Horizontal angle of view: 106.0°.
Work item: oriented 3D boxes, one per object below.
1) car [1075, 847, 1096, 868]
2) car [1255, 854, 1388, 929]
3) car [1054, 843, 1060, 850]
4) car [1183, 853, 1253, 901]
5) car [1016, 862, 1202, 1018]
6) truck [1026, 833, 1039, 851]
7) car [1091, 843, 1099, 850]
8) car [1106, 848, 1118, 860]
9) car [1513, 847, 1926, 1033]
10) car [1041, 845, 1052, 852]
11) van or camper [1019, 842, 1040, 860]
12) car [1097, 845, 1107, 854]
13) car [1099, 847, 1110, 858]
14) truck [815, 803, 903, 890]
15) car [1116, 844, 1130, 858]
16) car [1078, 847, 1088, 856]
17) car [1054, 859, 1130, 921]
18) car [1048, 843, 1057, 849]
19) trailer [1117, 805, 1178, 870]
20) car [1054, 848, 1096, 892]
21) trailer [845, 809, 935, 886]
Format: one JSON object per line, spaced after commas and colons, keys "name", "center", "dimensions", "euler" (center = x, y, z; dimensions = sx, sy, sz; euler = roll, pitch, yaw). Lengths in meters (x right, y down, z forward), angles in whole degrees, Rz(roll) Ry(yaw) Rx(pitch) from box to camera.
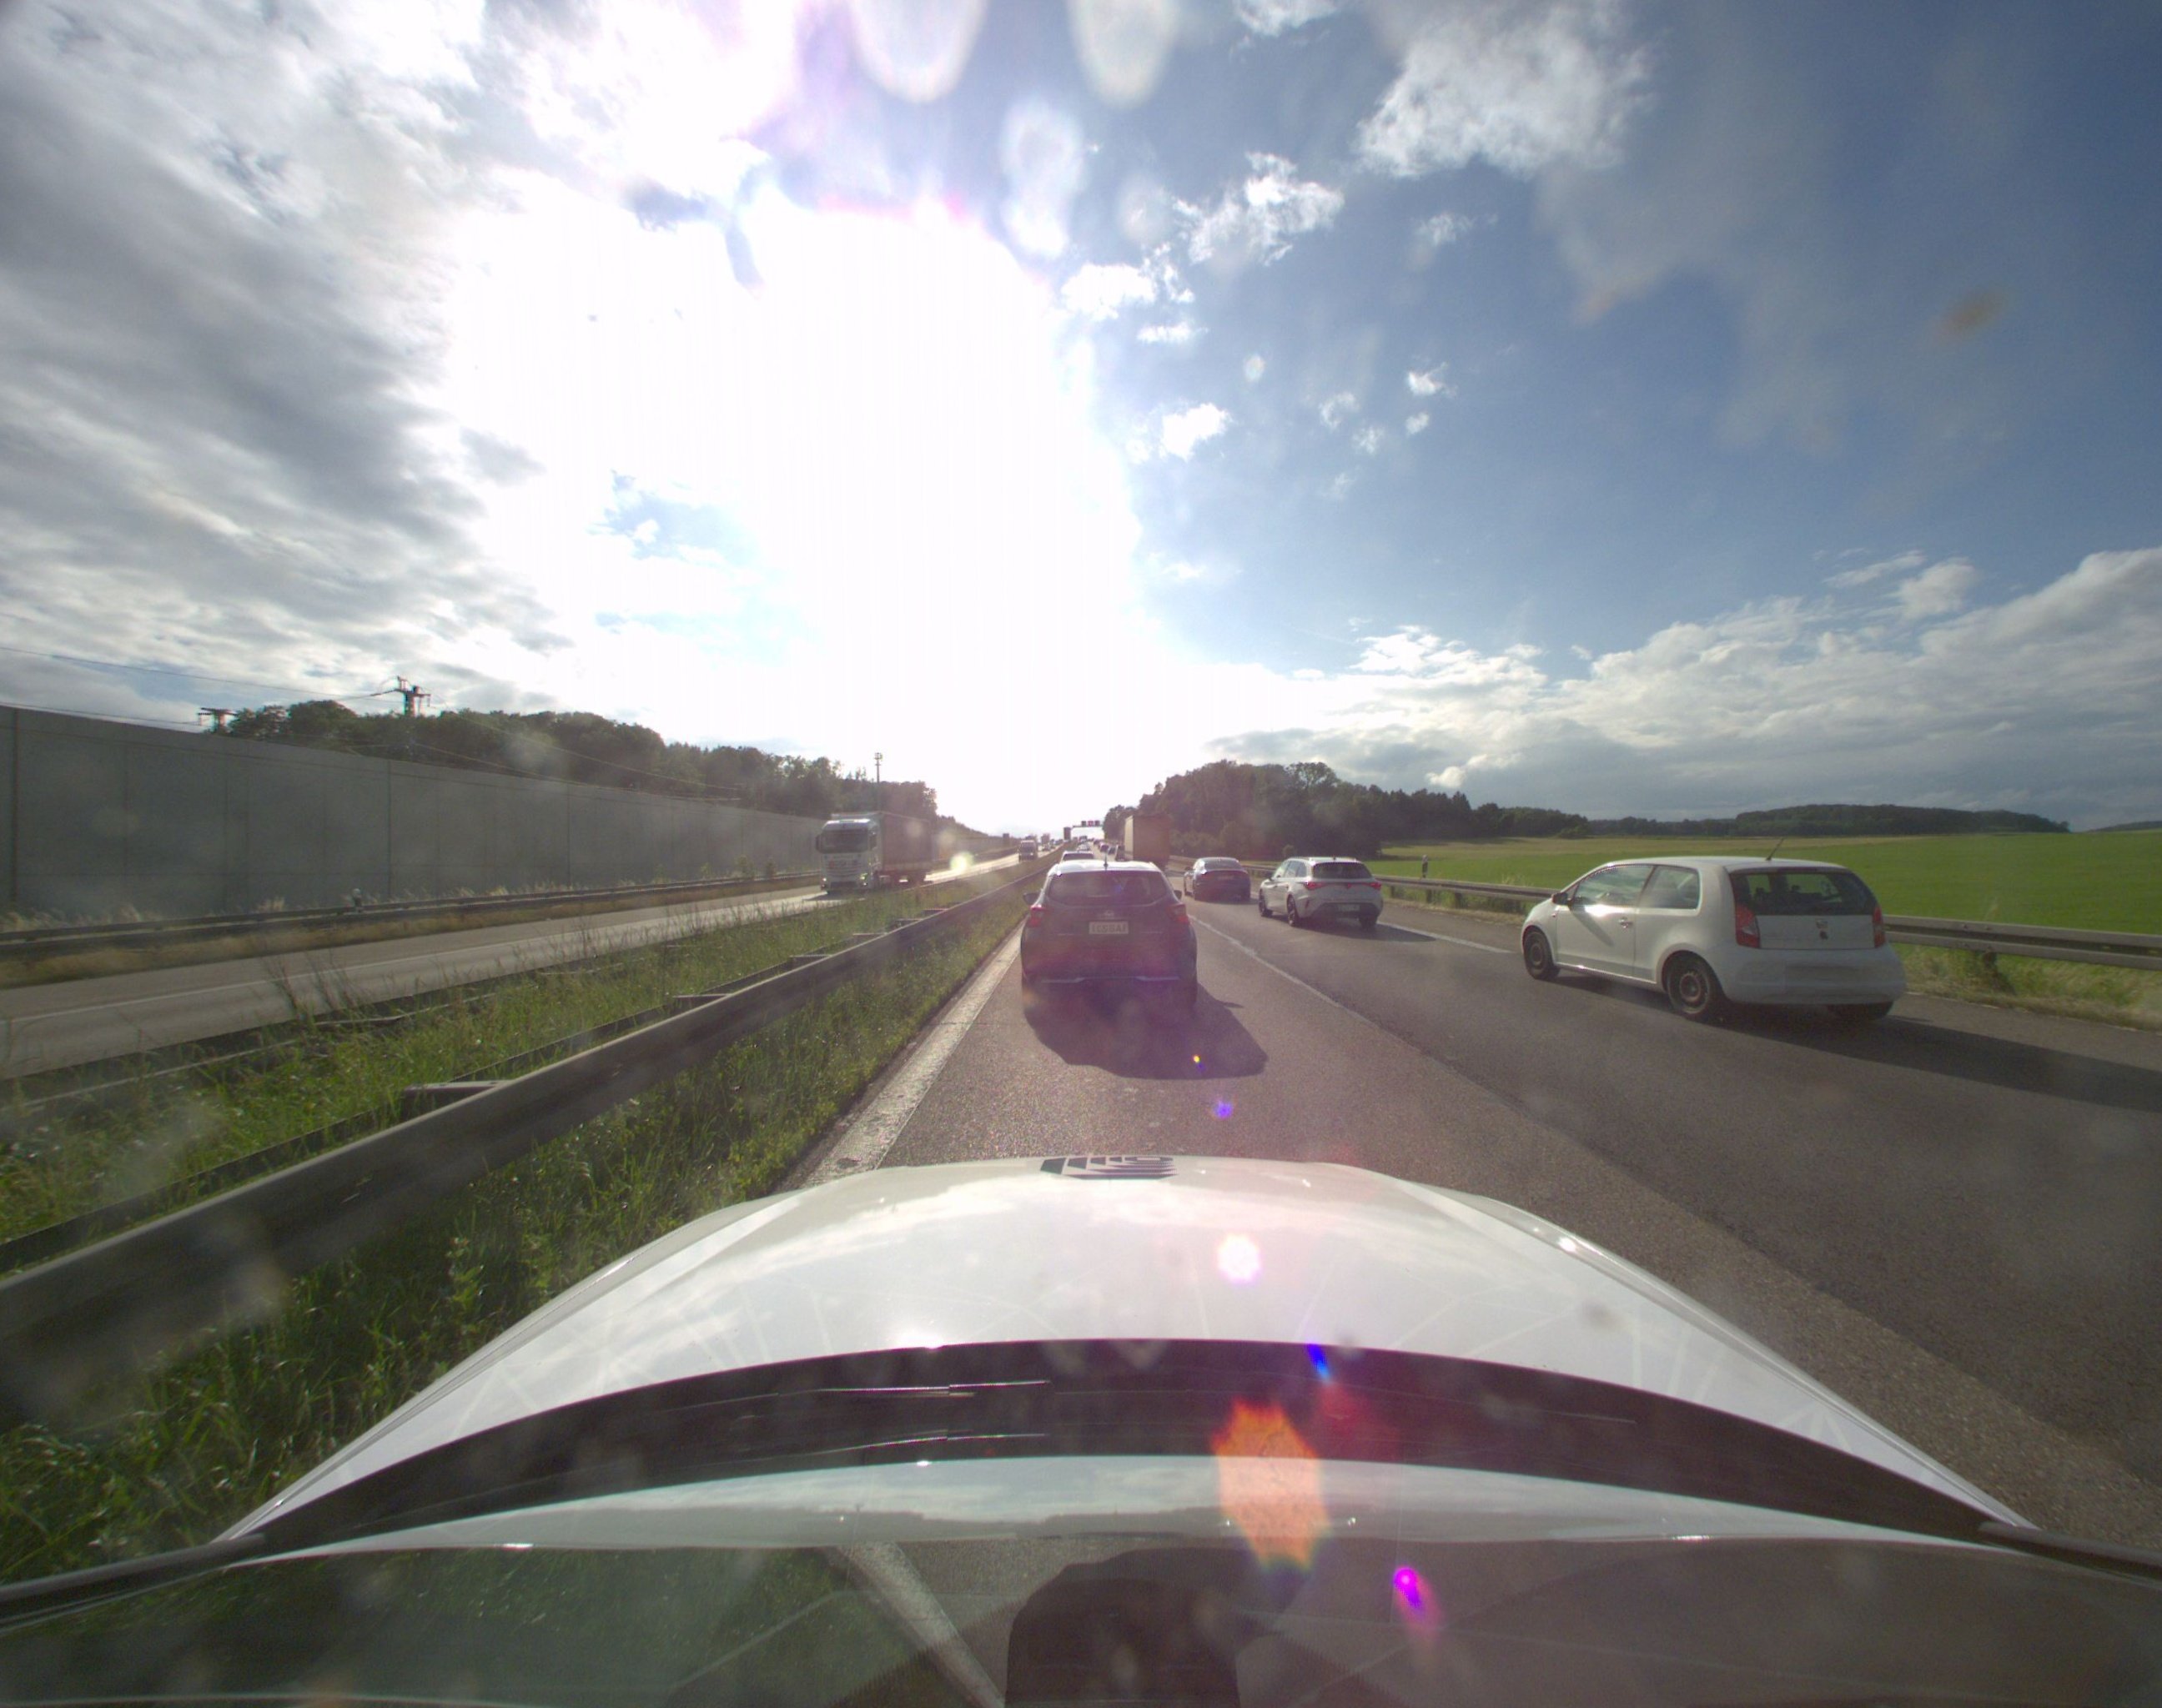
{"name": "car", "center": [0.429, 0.349, 81.151], "dimensions": [1.987, 2.014, 3.998], "euler": [0, -1, -1]}
{"name": "car", "center": [5.108, 0.746, 17.882], "dimensions": [1.616, 1.445, 4.144], "euler": [0, -1, -1]}
{"name": "car", "center": [-7.375, -2.308, 251.299], "dimensions": [1.853, 1.834, 4.281], "euler": [0, -1, 1]}
{"name": "car", "center": [4.519, 0.742, 27.465], "dimensions": [1.741, 1.475, 4.147], "euler": [-1, -1, 1]}
{"name": "car", "center": [0.311, 0.809, 9.188], "dimensions": [1.703, 1.426, 3.379], "euler": [-1, -1, 2]}
{"name": "truck", "center": [-10.817, -2.576, 182.055], "dimensions": [2.544, 3.798, 5.417], "euler": [-3, -1, 1]}
{"name": "car", "center": [3.872, -2.075, 225.047], "dimensions": [1.987, 2.014, 3.998], "euler": [0, -1, -1]}
{"name": "car", "center": [5.289, 0.073, 139.557], "dimensions": [1.987, 2.014, 3.998], "euler": [0, -1, -1]}
{"name": "car", "center": [6.095, 0.684, 8.311], "dimensions": [1.544, 1.495, 3.376], "euler": [0, 0, -1]}
{"name": "car", "center": [-7.395, -1.102, 176.154], "dimensions": [1.986, 1.486, 4.399], "euler": [0, -1, 1]}
{"name": "van or camper", "center": [-6.793, -0.361, 107.492], "dimensions": [2.158, 2.205, 6.260], "euler": [0, -1, 2]}
{"name": "car", "center": [4.683, -1.011, 183.635], "dimensions": [1.987, 2.014, 3.998], "euler": [0, -1, -1]}
{"name": "car", "center": [4.578, -0.297, 157.977], "dimensions": [1.987, 2.014, 3.998], "euler": [0, -1, -1]}
{"name": "truck", "center": [-11.301, -0.332, 42.186], "dimensions": [2.629, 4.098, 7.000], "euler": [0, -1, 0]}
{"name": "car", "center": [5.237, -0.379, 100.976], "dimensions": [1.661, 1.755, 3.328], "euler": [0, -1, 2]}
{"name": "car", "center": [0.363, -0.506, 169.828], "dimensions": [1.987, 2.014, 3.998], "euler": [0, -1, -1]}
{"name": "car", "center": [0.281, 0.810, 19.889], "dimensions": [1.668, 1.367, 3.597], "euler": [-1, -1, 1]}
{"name": "car", "center": [-7.023, -1.944, 201.981], "dimensions": [1.797, 1.516, 4.691], "euler": [0, -1, 1]}
{"name": "trailer", "center": [4.858, -1.089, 62.247], "dimensions": [3.538, 4.457, 12.718], "euler": [0, -1, 0]}
{"name": "car", "center": [-0.205, 0.649, 34.003], "dimensions": [1.668, 1.726, 3.597], "euler": [-1, -1, 1]}
{"name": "trailer", "center": [-11.313, -0.288, 49.693], "dimensions": [2.646, 4.081, 12.392], "euler": [0, -1, -1]}
